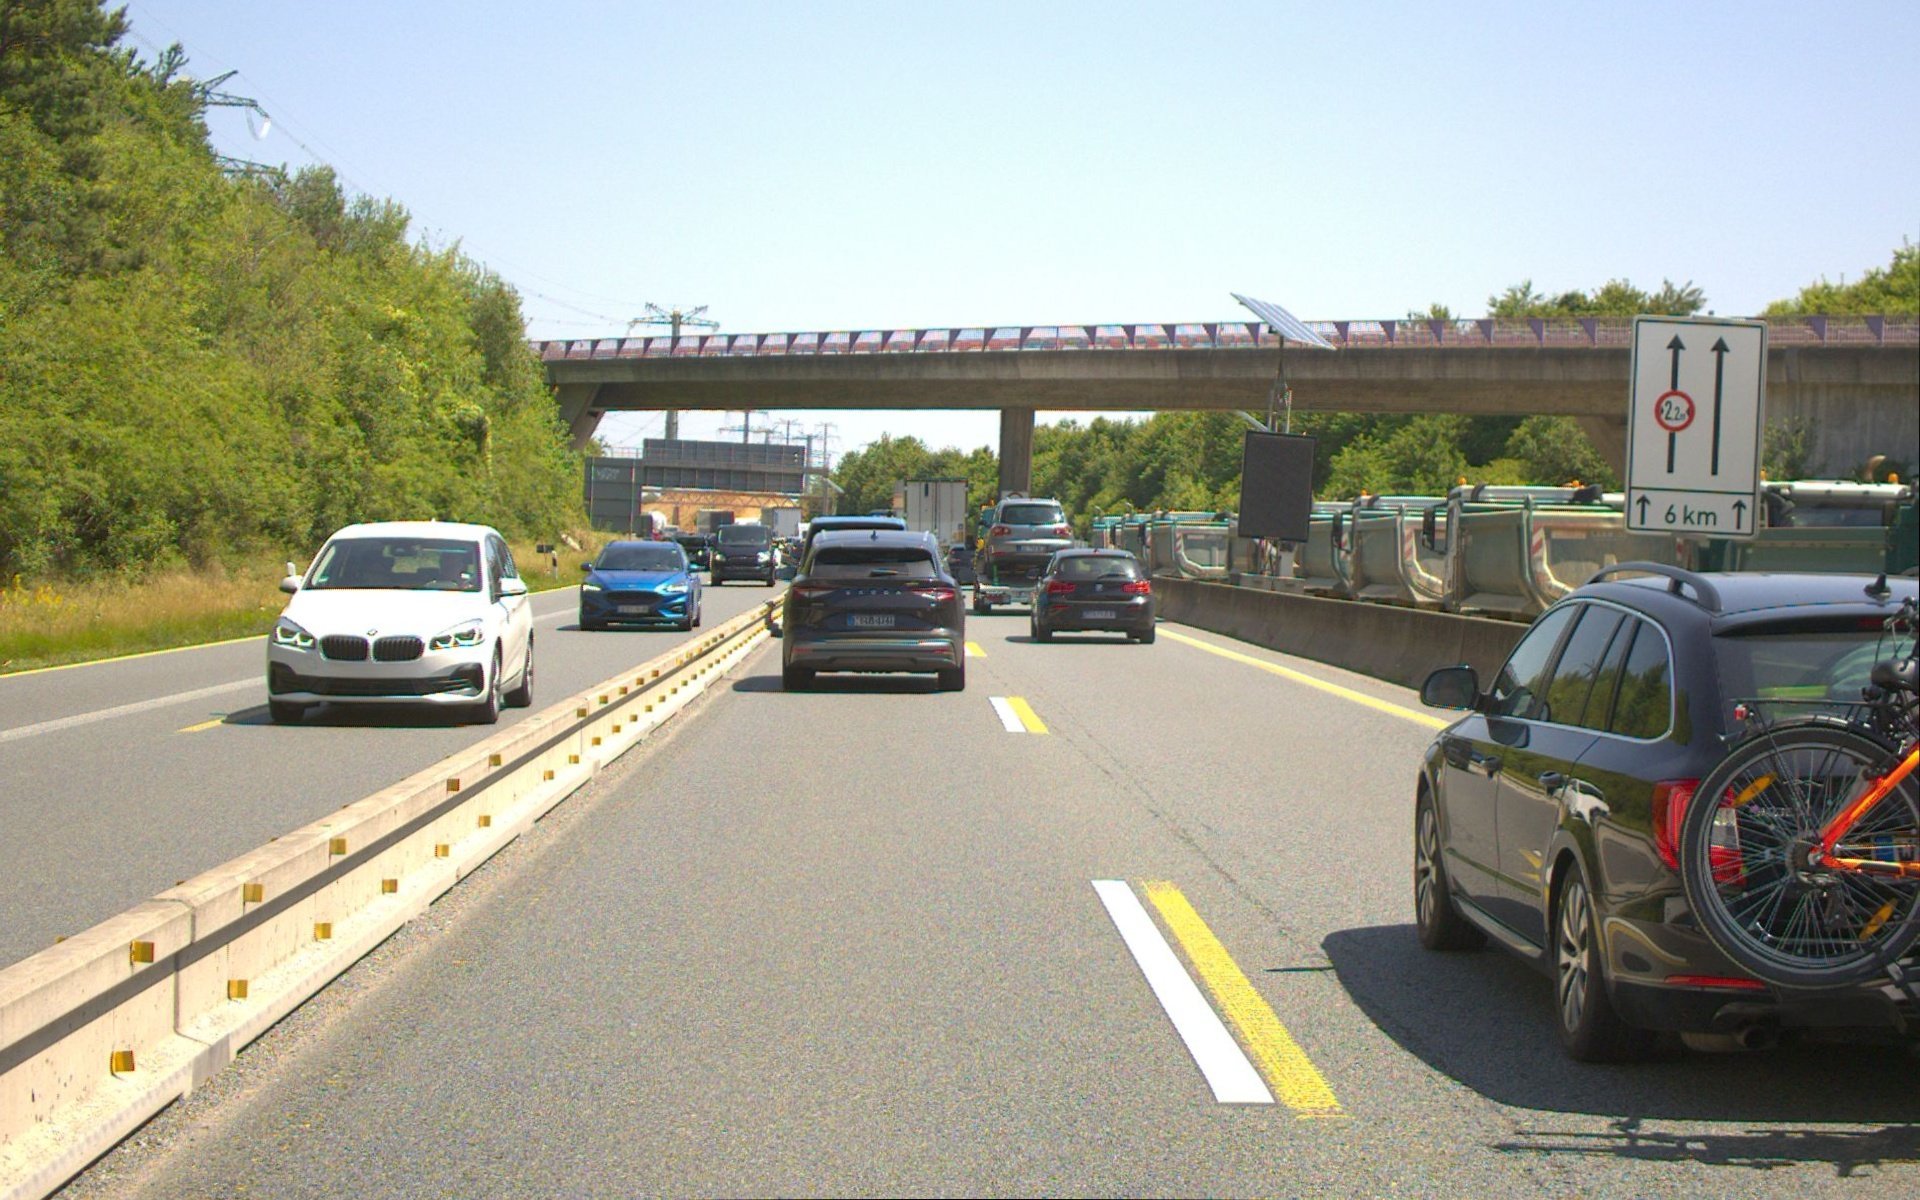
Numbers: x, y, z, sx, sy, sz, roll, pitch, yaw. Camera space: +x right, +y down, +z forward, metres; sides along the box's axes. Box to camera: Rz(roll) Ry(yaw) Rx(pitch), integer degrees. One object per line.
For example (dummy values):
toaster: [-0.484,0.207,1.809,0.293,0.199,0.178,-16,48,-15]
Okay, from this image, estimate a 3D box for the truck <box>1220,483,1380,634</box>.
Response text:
truck: [8.437,-1.089,86.381,2.687,3.545,9.326,1,1,-2]

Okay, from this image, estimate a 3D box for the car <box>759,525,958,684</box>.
car: [-1.003,0.006,35.392,1.899,1.500,4.276,1,1,-1]

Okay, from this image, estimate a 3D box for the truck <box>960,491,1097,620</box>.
truck: [1.379,-0.994,72.932,2.405,2.549,7.501,1,1,-2]

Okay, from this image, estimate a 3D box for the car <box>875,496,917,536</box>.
car: [-3.311,-4.328,177.728,1.899,1.962,4.277,1,1,-5]

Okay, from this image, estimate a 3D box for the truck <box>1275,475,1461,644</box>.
truck: [9.077,-0.955,77.560,2.687,3.545,9.326,1,1,-2]

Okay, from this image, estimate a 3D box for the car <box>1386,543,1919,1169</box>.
car: [2.620,0.595,10.699,1.899,1.485,4.948,1,1,-1]

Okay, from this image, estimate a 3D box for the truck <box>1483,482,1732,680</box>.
truck: [11.892,-0.425,64.098,2.687,3.366,9.603,1,1,0]

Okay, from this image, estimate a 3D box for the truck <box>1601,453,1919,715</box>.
truck: [12.067,-0.308,51.865,2.687,3.545,9.604,1,1,-1]

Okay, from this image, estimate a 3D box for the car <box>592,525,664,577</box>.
car: [-10.157,-1.528,105.318,1.793,1.520,4.531,1,1,-1]

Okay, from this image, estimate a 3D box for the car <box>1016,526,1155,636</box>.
car: [1.881,-0.312,52.772,1.899,1.580,4.276,1,1,-1]

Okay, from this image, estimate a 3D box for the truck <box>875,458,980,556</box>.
truck: [-1.418,-3.825,142.601,3.292,3.832,10.112,1,1,-6]

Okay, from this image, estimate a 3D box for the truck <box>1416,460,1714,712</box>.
truck: [9.248,-0.296,53.731,2.687,3.545,9.603,1,1,-1]

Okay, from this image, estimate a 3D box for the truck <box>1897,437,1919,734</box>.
truck: [12.898,-0.067,37.077,2.687,3.545,9.603,1,1,-1]

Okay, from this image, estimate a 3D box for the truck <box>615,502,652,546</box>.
truck: [-24.135,-5.610,253.974,2.508,3.175,10.112,1,1,-6]

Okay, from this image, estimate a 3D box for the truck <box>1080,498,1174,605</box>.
truck: [6.223,-1.862,129.220,2.687,3.830,9.326,1,1,-2]

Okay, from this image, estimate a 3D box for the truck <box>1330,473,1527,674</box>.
truck: [8.871,-0.566,66.052,2.687,3.545,9.406,1,1,2]

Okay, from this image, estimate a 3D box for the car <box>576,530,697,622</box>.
car: [-5.271,-0.408,56.444,1.712,1.420,4.171,1,1,-2]

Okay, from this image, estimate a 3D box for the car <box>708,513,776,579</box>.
car: [-6.908,-1.727,109.419,1.890,2.007,4.818,1,1,-1]

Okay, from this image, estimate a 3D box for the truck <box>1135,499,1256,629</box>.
truck: [7.107,-1.133,105.010,2.687,3.748,9.326,1,1,-2]

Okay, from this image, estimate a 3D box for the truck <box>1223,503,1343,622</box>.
truck: [10.597,-1.294,113.698,2.687,3.714,9.326,1,1,-2]

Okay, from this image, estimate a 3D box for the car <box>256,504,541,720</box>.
car: [-4.589,0.065,28.655,1.762,1.626,4.297,1,1,-2]

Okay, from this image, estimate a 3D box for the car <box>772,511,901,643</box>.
car: [-1.913,-0.379,54.369,1.899,1.962,4.276,1,1,-1]

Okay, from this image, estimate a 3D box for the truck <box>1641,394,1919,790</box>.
truck: [9.440,-0.148,35.694,2.538,3.545,9.604,1,1,-1]

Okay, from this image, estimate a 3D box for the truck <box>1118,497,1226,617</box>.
truck: [7.118,-1.495,116.638,2.687,3.842,9.326,1,1,-2]
